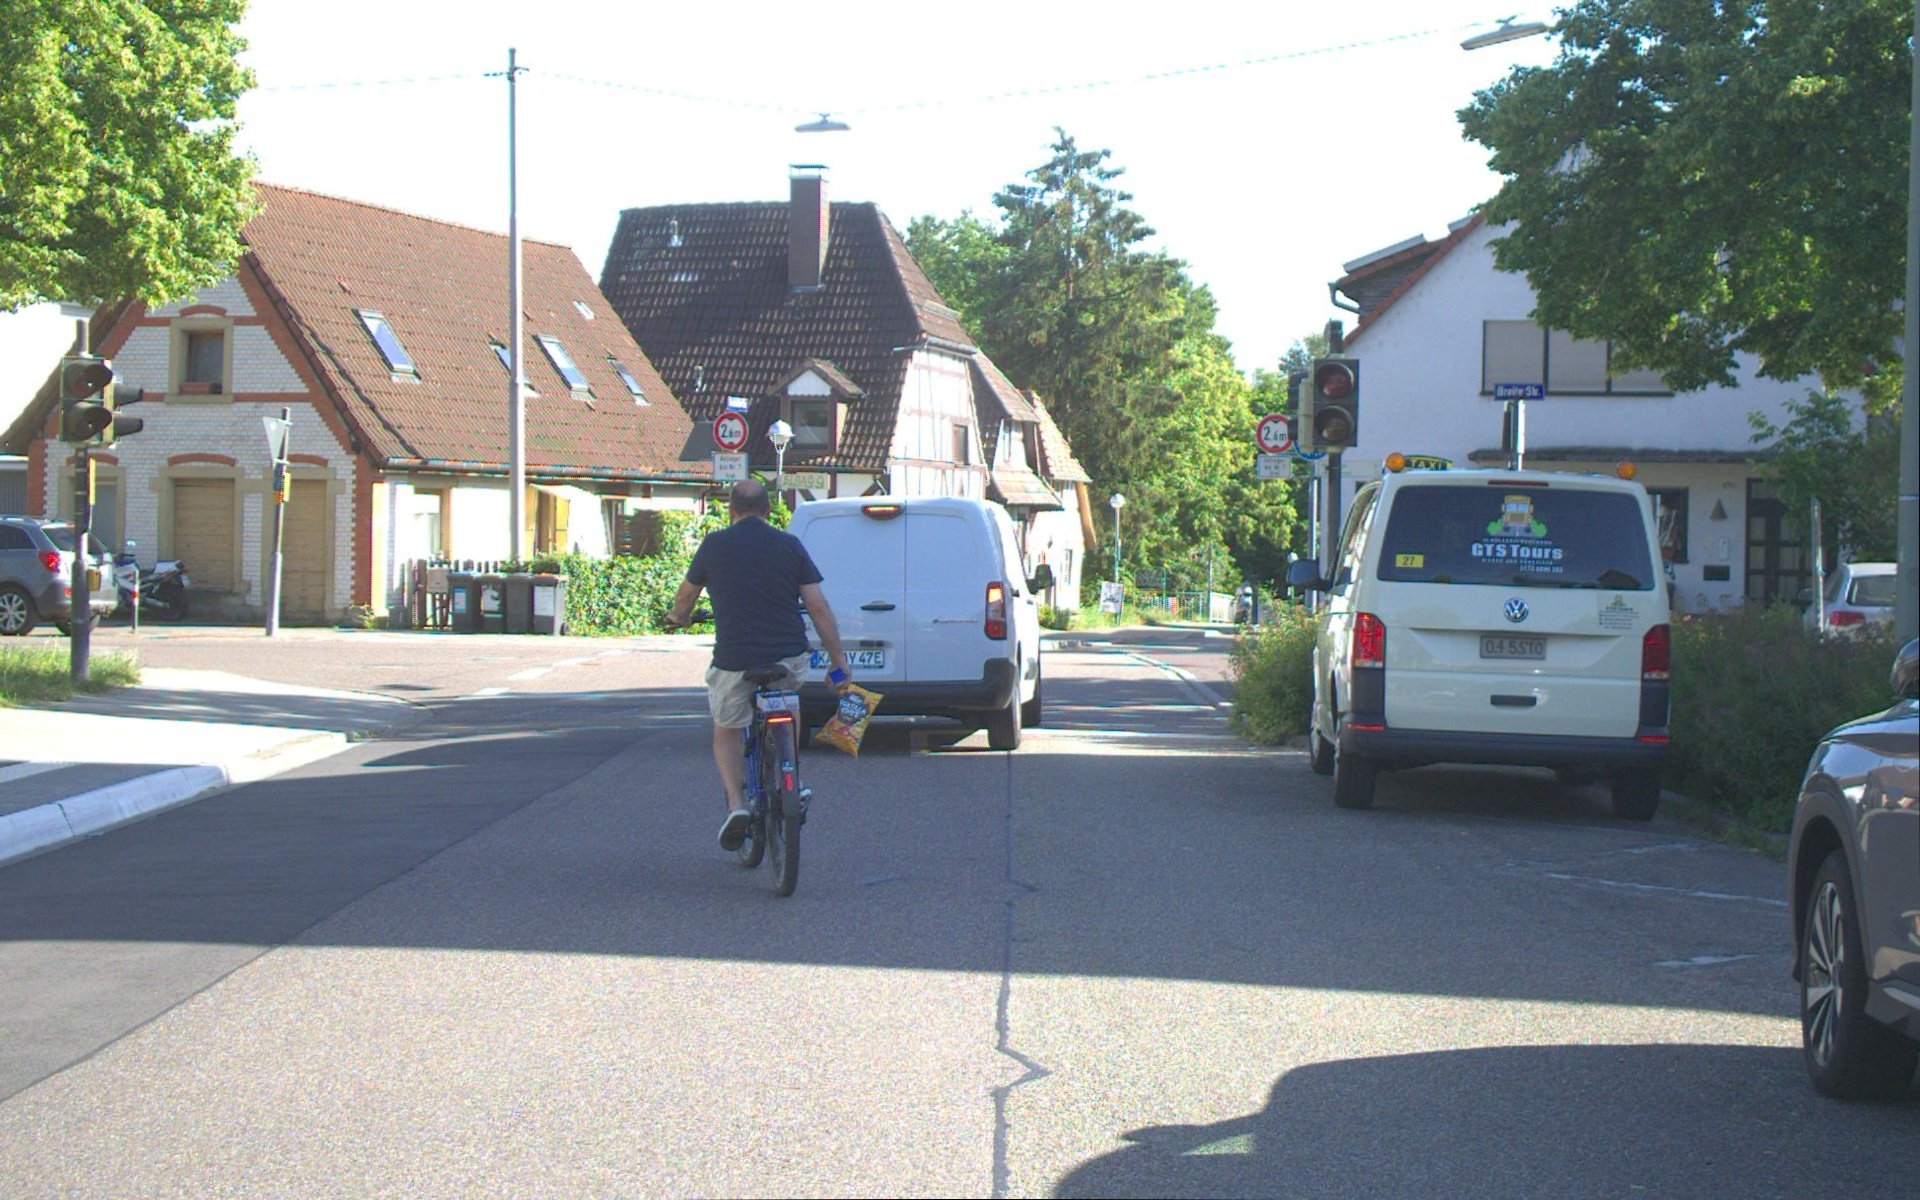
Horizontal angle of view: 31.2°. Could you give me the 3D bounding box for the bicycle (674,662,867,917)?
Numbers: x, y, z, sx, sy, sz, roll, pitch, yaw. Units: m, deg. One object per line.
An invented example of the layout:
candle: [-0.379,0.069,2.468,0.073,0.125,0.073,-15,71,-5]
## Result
bicycle: [-0.814,0.785,14.992,0.774,0.937,2.291,0,1,-3]

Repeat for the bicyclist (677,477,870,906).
bicyclist: [-0.803,0.375,14.864,0.764,1.782,0.853,2,1,-3]

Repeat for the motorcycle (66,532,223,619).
motorcycle: [-12.742,-0.392,53.734,2.244,1.291,0.882,1,4,20]

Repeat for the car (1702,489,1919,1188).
car: [3.380,0.619,8.538,1.957,1.732,4.577,2,1,-1]

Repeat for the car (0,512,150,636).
car: [-14.232,-0.416,50.261,4.224,1.719,1.944,2,1,17]

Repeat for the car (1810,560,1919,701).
car: [11.302,0.332,40.986,1.994,1.416,4.800,2,3,11]

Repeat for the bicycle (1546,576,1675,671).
bicycle: [9.207,0.325,48.696,1.738,1.279,0.700,2,0,10]

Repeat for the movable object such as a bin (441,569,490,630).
movable object such as a bin: [-7.670,-0.004,53.367,0.508,0.921,0.625,2,1,19]

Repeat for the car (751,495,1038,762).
car: [-0.411,0.127,26.314,1.957,1.841,4.560,0,2,2]

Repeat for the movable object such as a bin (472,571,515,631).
movable object such as a bin: [-7.209,0.010,53.162,0.412,0.903,0.625,1,2,19]

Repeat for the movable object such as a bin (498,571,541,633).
movable object such as a bin: [-6.788,0.027,53.026,0.411,0.921,0.625,1,1,19]

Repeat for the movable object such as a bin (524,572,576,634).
movable object such as a bin: [-6.298,0.041,52.854,0.556,0.921,0.625,2,1,19]

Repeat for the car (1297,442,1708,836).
car: [3.201,0.191,21.172,1.994,2.072,4.577,3,1,4]
